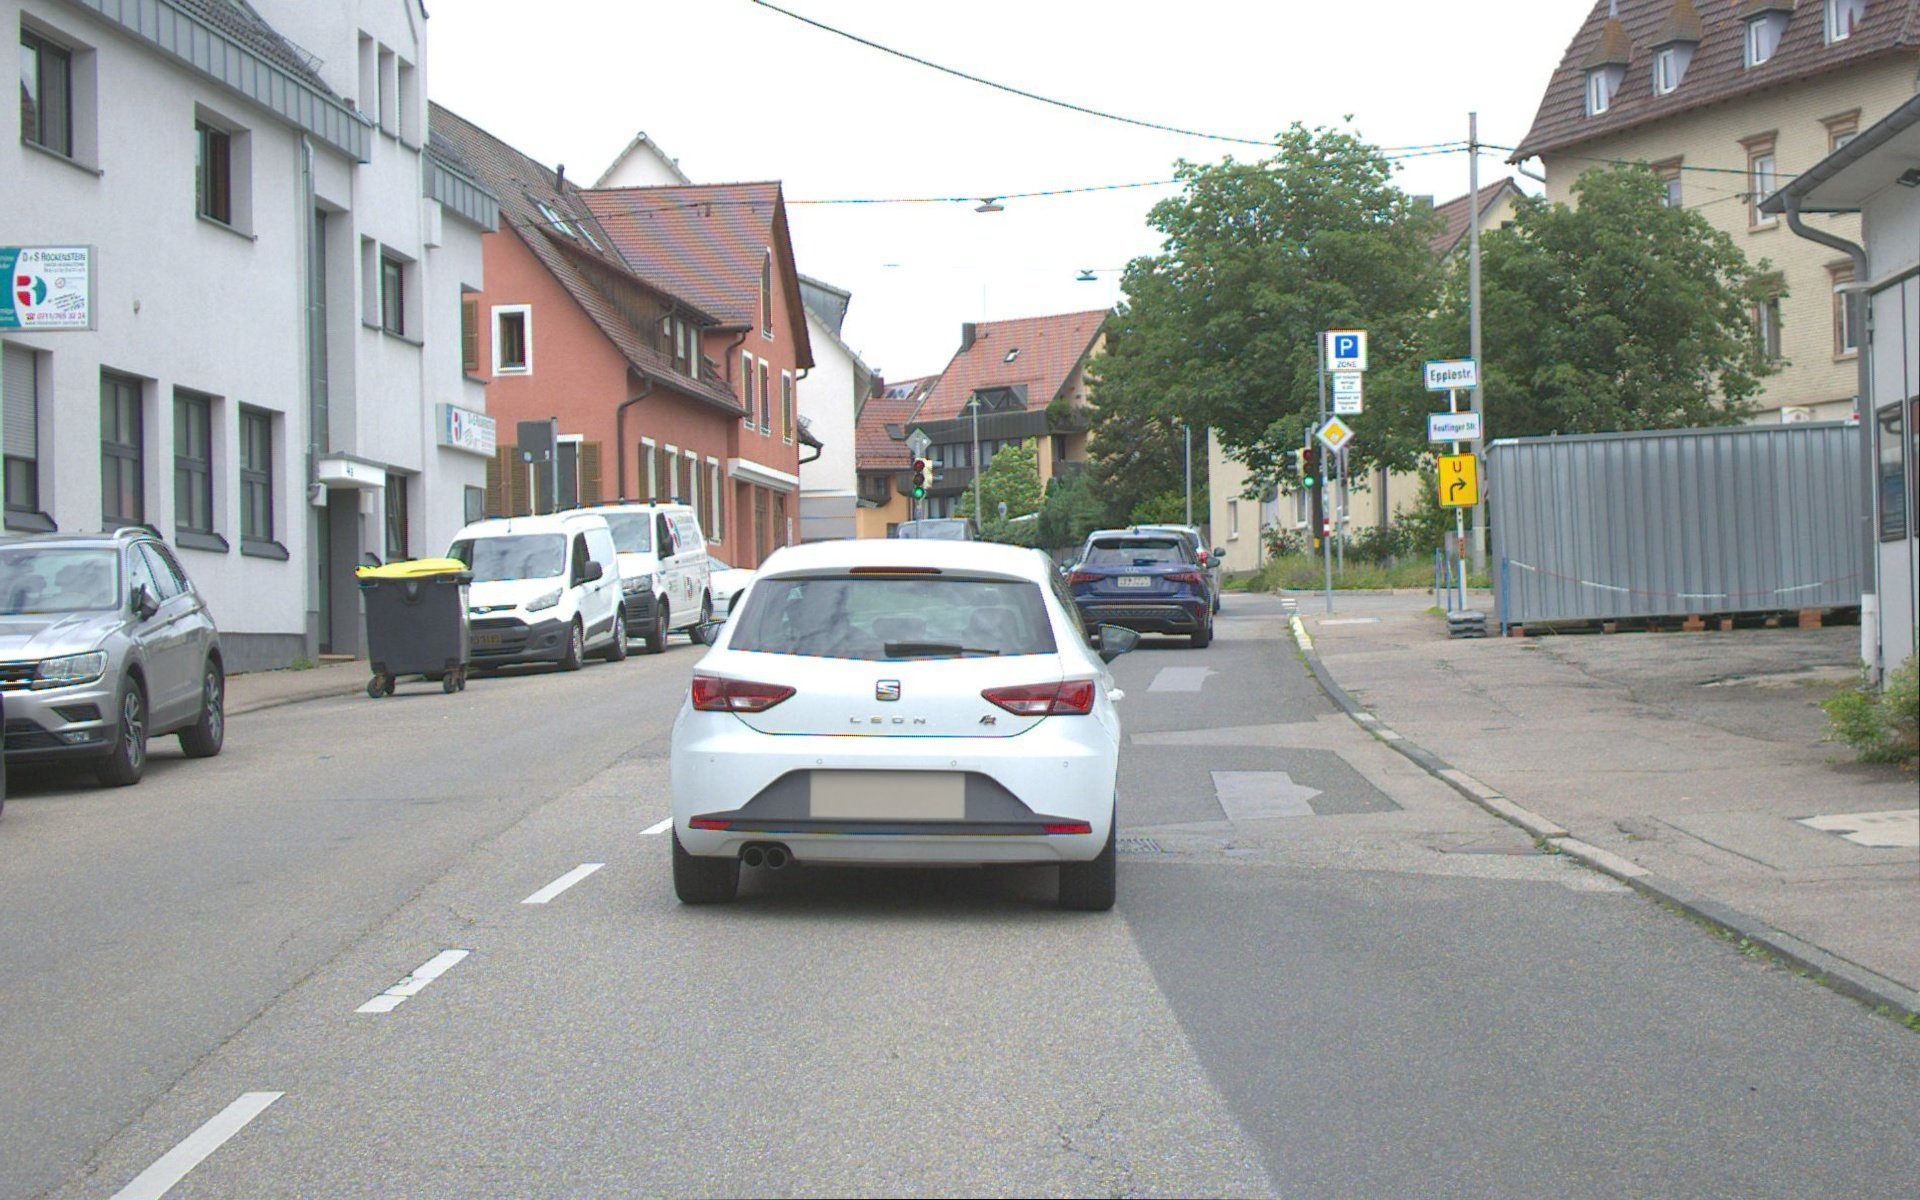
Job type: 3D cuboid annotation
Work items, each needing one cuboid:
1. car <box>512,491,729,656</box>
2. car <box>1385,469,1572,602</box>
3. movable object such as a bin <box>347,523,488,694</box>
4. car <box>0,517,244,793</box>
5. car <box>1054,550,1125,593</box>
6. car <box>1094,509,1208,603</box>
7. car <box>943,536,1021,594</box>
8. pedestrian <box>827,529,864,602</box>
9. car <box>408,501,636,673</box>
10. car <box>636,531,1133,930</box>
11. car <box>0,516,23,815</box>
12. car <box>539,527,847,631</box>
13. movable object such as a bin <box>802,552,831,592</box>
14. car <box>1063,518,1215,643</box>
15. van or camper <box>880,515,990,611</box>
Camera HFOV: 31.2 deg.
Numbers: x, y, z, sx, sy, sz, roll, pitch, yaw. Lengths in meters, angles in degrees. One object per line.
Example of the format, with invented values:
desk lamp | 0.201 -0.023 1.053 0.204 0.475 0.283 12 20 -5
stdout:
car | -4.458 -0.393 45.862 1.812 1.999 4.762 -3 1 7
car | 7.332 -0.932 49.015 1.746 1.733 4.572 -3 1 -2
movable object such as a bin | -5.424 0.065 34.472 1.140 1.627 1.563 -2 1 -2
car | -6.096 0.303 22.777 1.837 1.627 4.409 -2 1 -2
car | 4.686 -1.012 124.847 1.758 1.447 4.001 1 -1 -10
car | 3.112 -0.690 55.844 1.758 1.447 3.999 -1 0 3
car | 0.605 -1.008 99.903 1.997 1.627 4.858 0 0 -3
pedestrian | -2.816 -0.847 84.419 0.800 1.778 0.892 0 1 4
car | -5.083 -0.195 40.438 1.733 1.825 4.297 -3 1 4
car | -0.179 0.459 14.618 1.758 1.447 4.000 -1 1 4
car | -6.117 0.436 16.940 1.837 1.627 4.409 -3 1 -2
car | -4.275 -0.343 55.450 4.555 1.440 1.999 -3 1 8
movable object such as a bin | -3.707 -0.728 88.970 0.665 1.014 0.795 -2 1 1
car | 2.178 -0.219 42.109 1.758 1.447 3.999 -1 0 3
van or camper | -0.537 -0.835 80.039 2.074 1.999 4.856 -3 -1 4
